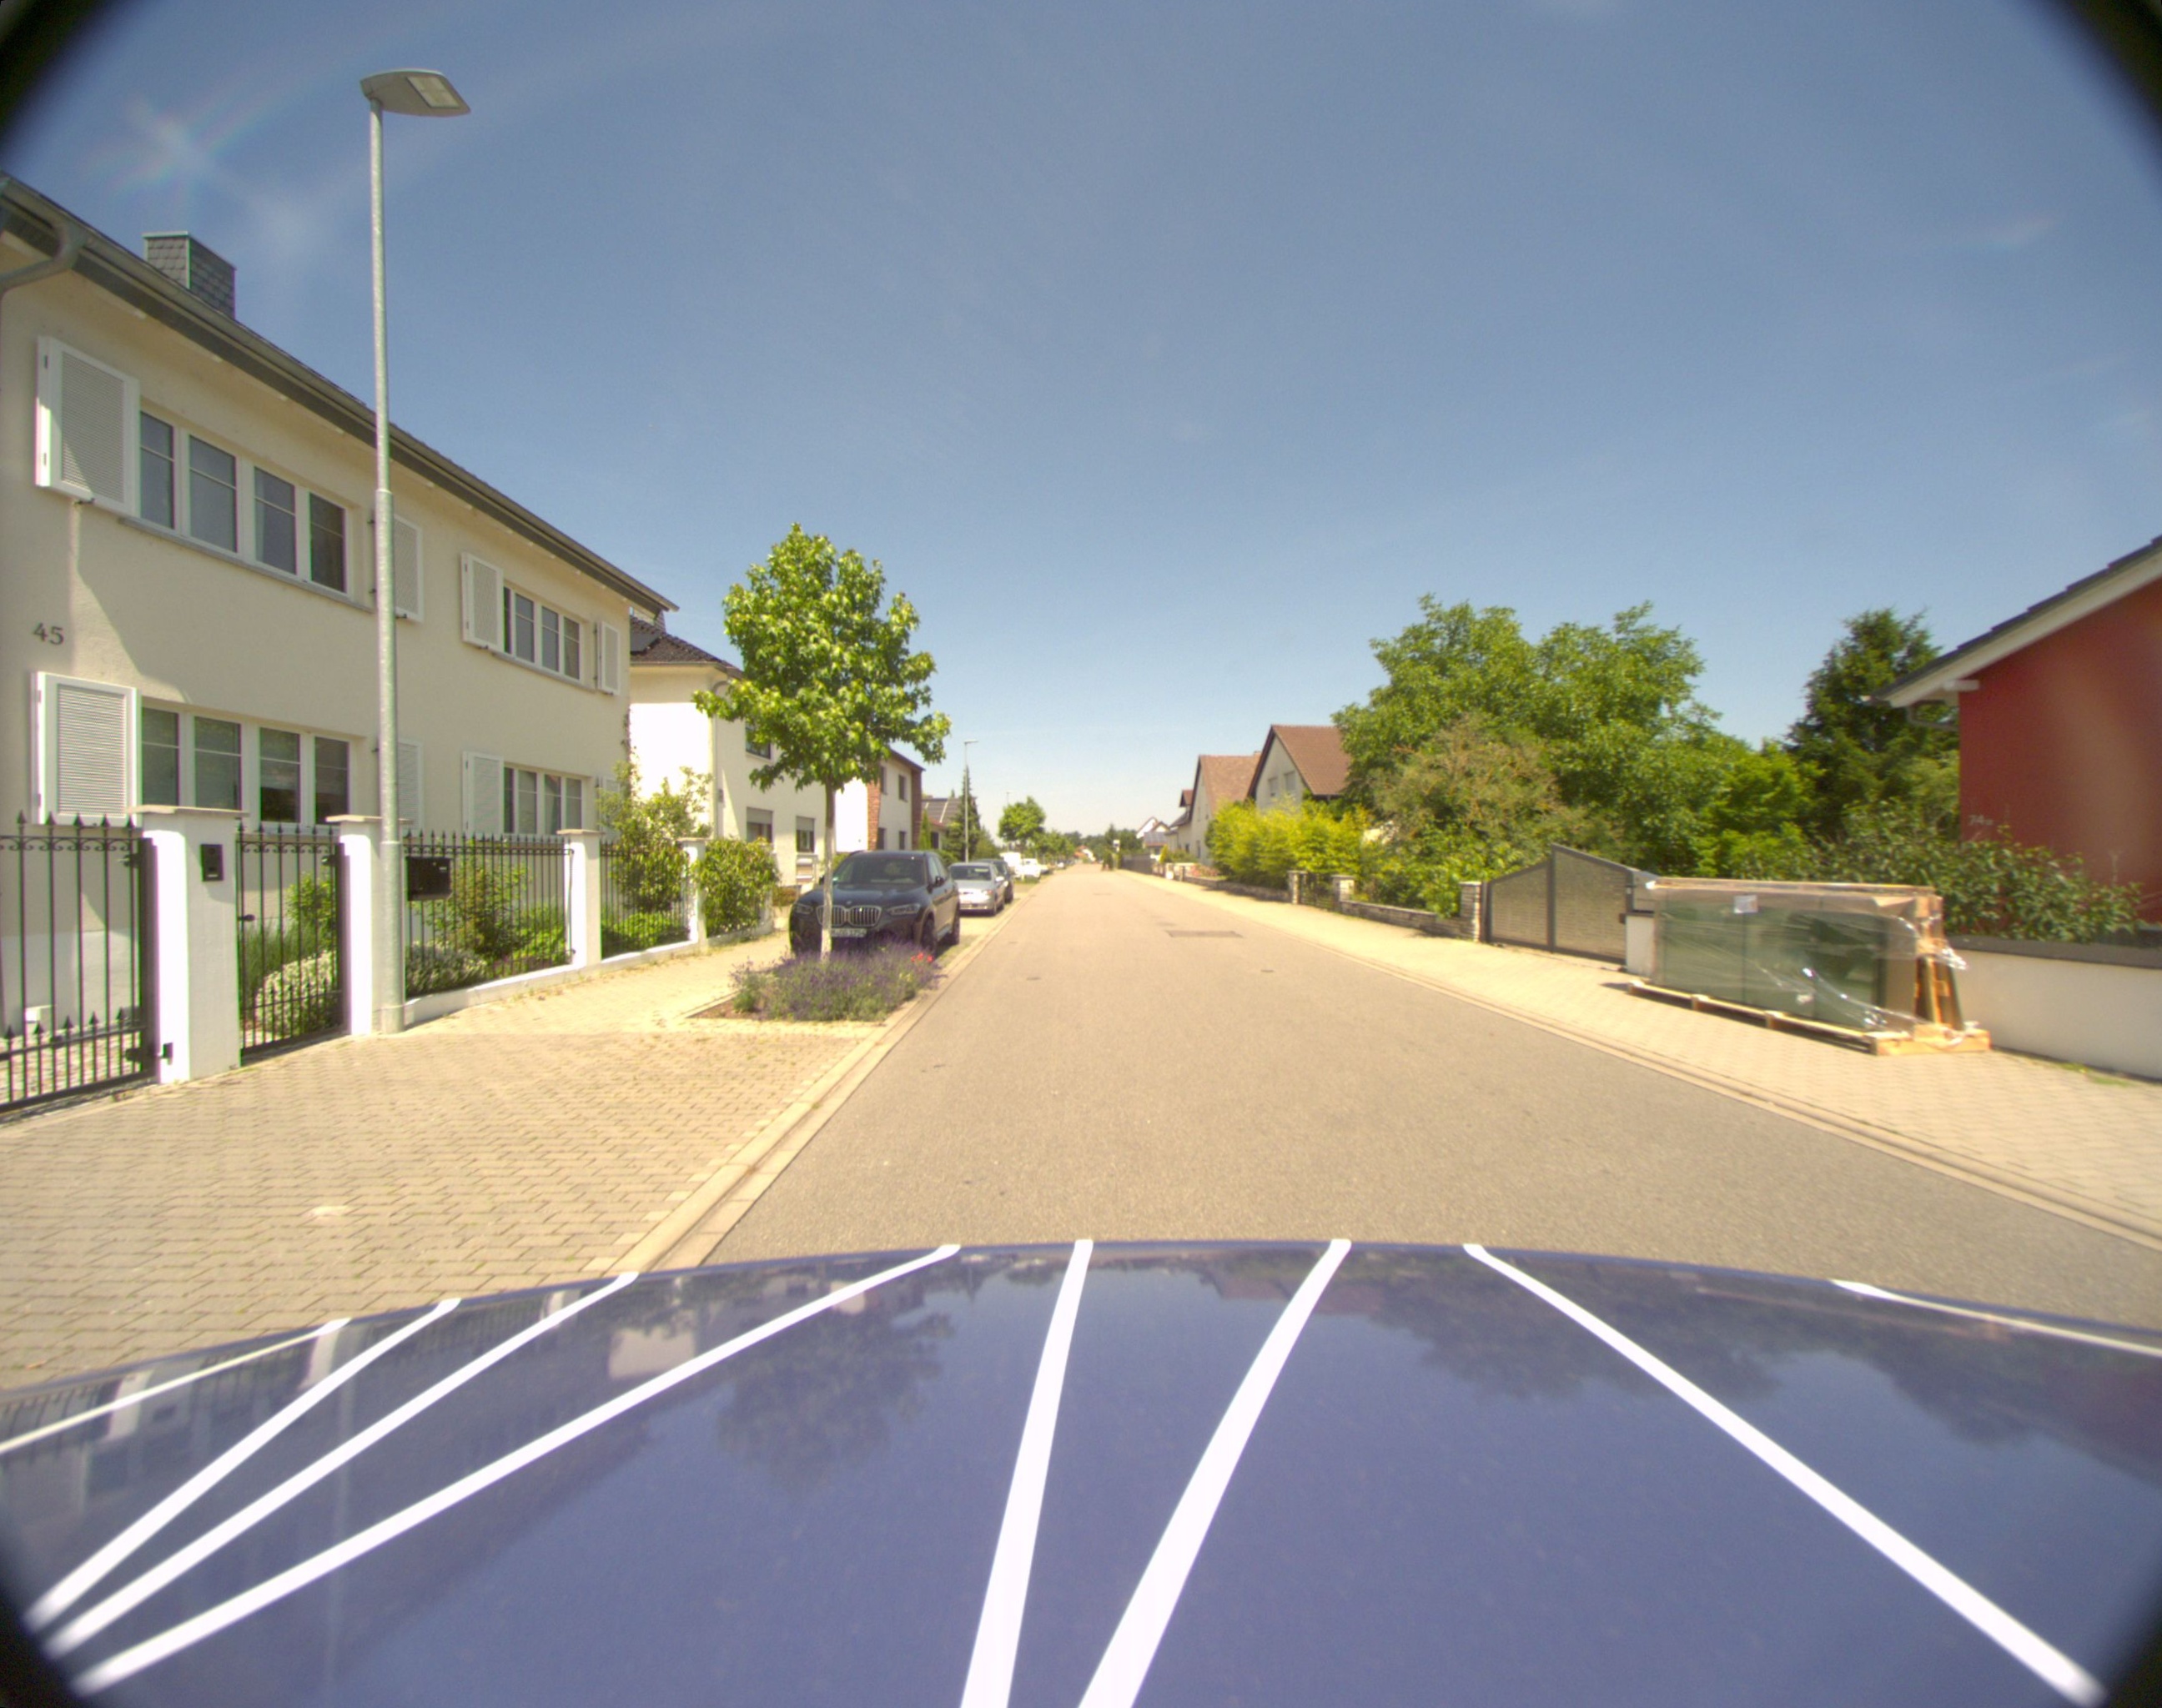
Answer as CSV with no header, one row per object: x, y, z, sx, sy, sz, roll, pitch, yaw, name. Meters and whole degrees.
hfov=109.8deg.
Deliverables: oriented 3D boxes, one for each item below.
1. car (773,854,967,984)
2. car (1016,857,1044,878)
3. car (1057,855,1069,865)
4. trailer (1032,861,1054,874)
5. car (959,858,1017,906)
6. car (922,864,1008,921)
-3.052,0.864,12.033,1.819,1.646,4.564,-1,-1,-1,car
-3.581,0.925,54.226,1.819,1.411,3.867,-1,0,-2,car
-2.925,0.958,123.228,1.597,1.630,3.803,-1,0,3,car
-3.425,1.223,69.220,1.792,1.052,2.899,-1,0,0,trailer
-3.222,0.912,27.008,1.746,1.524,4.447,-1,0,-3,car
-3.132,1.002,21.283,1.819,1.411,4.092,-1,0,-1,car
